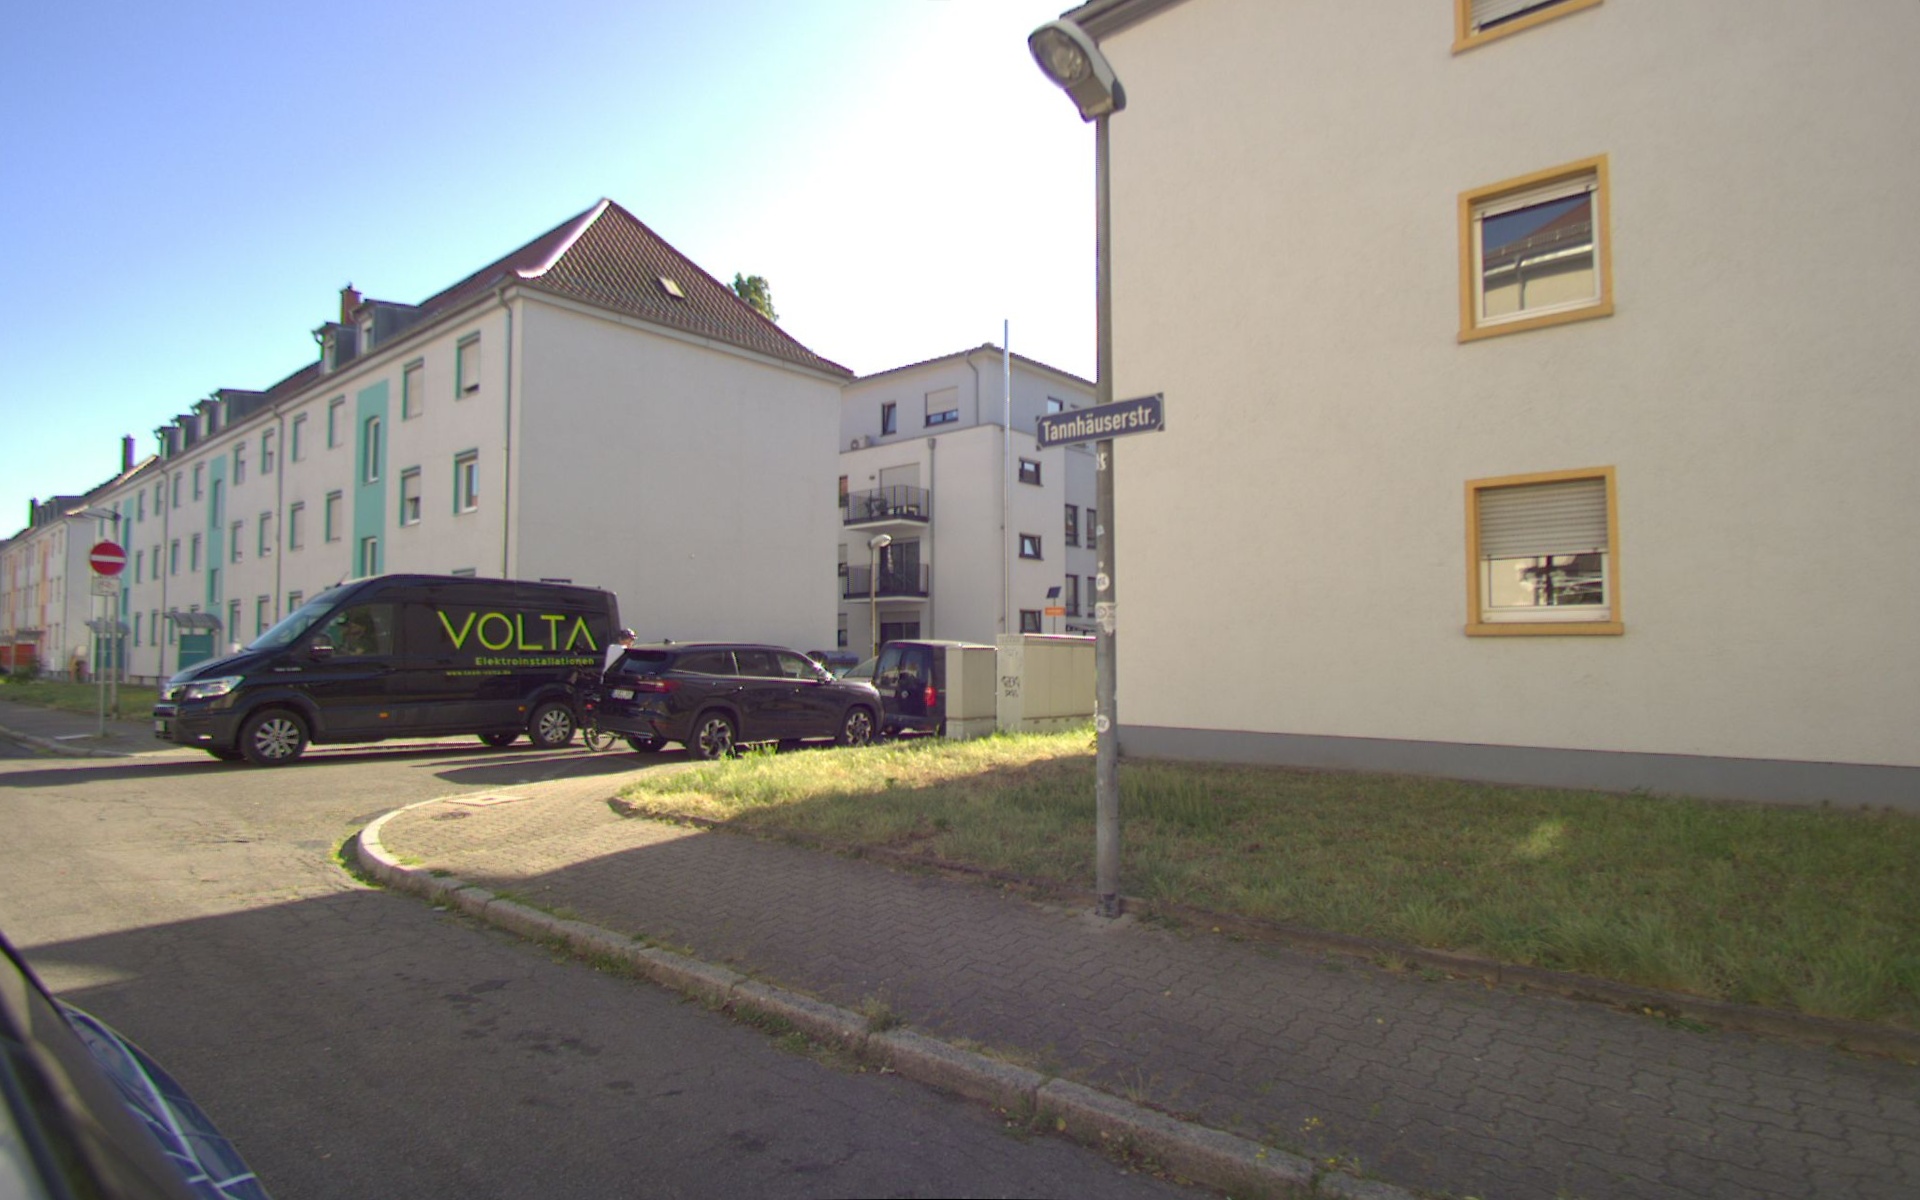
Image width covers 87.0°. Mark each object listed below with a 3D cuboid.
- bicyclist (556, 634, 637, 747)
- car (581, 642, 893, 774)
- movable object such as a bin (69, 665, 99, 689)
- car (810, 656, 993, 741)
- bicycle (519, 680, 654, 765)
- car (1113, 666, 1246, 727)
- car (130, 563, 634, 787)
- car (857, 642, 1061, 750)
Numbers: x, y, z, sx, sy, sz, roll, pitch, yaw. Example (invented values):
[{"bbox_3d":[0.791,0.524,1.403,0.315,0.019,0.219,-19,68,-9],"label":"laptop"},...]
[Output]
[{"bbox_3d":[-5.357,1.321,14.933,0.597,1.591,0.896,-2,-5,35],"label":"bicyclist"},{"bbox_3d":[-3.198,1.552,15.318,1.718,1.676,4.442,-1,-4,40],"label":"car"},{"bbox_3d":[-50.505,4.442,58.357,0.877,1.404,1.152,-4,-5,40],"label":"movable object such as a bin"},{"bbox_3d":[-1.209,2.174,22.542,1.864,1.708,3.946,-3,-7,40],"label":"car"},{"bbox_3d":[-5.422,1.754,14.802,0.628,1.124,1.794,-2,-4,35],"label":"bicycle"},{"bbox_3d":[5.668,2.463,25.911,1.785,1.394,3.517,-1,-5,42],"label":"car"},{"bbox_3d":[-7.859,1.022,14.460,1.999,2.564,5.878,-3,-5,41],"label":"car"},{"bbox_3d":[0.075,1.773,19.263,1.718,1.802,3.950,-1,-4,40],"label":"car"}]
